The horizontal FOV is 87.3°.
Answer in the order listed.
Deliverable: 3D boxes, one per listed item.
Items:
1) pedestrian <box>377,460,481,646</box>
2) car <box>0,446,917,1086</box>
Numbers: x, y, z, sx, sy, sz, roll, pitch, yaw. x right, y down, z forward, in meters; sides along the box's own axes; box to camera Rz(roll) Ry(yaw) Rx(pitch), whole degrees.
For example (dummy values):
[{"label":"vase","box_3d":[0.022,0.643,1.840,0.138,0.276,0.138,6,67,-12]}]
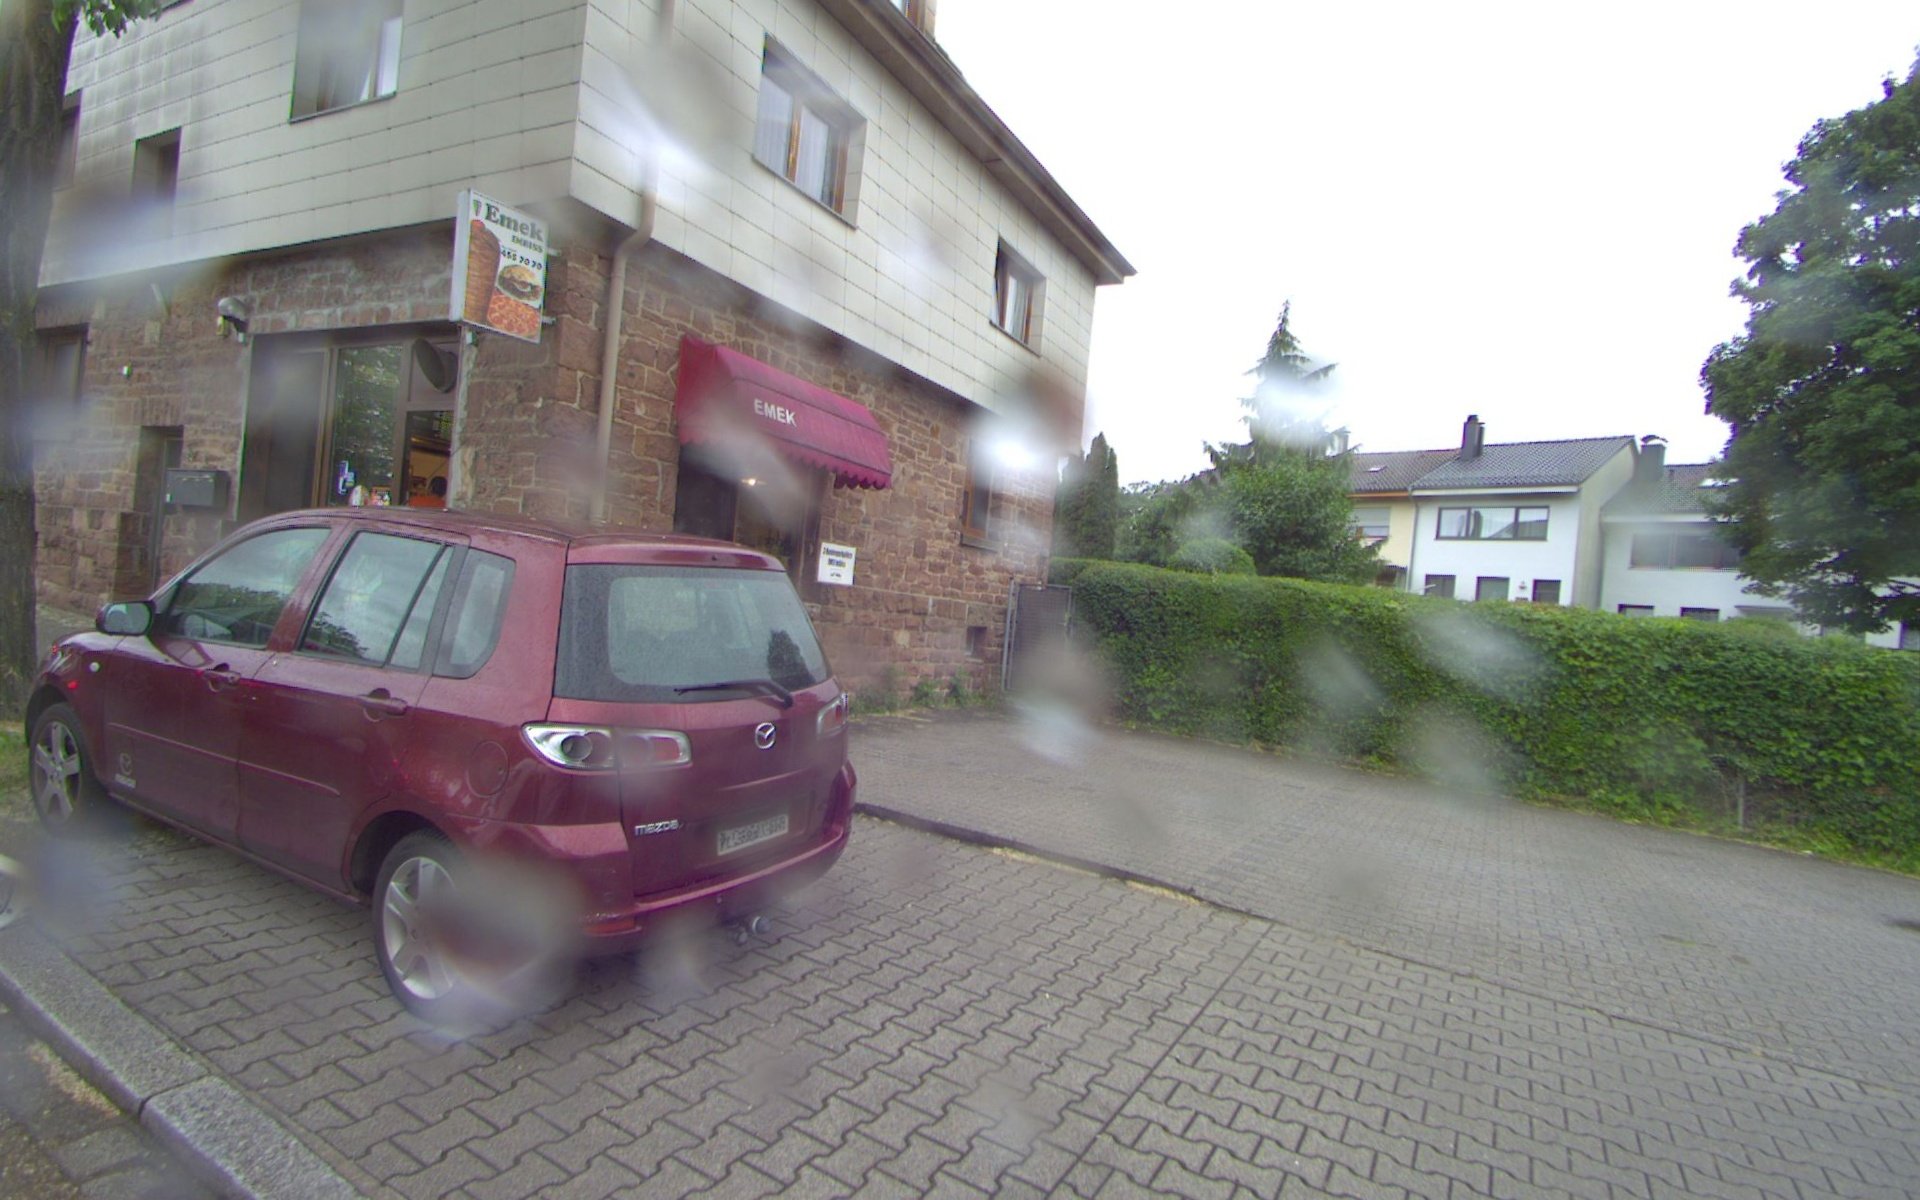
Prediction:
[{"label":"pedestrian","box_3d":[-5.626,-0.485,10.668,0.475,1.862,0.638,7,0,31]},{"label":"car","box_3d":[-2.166,0.322,4.121,3.565,1.511,1.585,8,3,29]}]
